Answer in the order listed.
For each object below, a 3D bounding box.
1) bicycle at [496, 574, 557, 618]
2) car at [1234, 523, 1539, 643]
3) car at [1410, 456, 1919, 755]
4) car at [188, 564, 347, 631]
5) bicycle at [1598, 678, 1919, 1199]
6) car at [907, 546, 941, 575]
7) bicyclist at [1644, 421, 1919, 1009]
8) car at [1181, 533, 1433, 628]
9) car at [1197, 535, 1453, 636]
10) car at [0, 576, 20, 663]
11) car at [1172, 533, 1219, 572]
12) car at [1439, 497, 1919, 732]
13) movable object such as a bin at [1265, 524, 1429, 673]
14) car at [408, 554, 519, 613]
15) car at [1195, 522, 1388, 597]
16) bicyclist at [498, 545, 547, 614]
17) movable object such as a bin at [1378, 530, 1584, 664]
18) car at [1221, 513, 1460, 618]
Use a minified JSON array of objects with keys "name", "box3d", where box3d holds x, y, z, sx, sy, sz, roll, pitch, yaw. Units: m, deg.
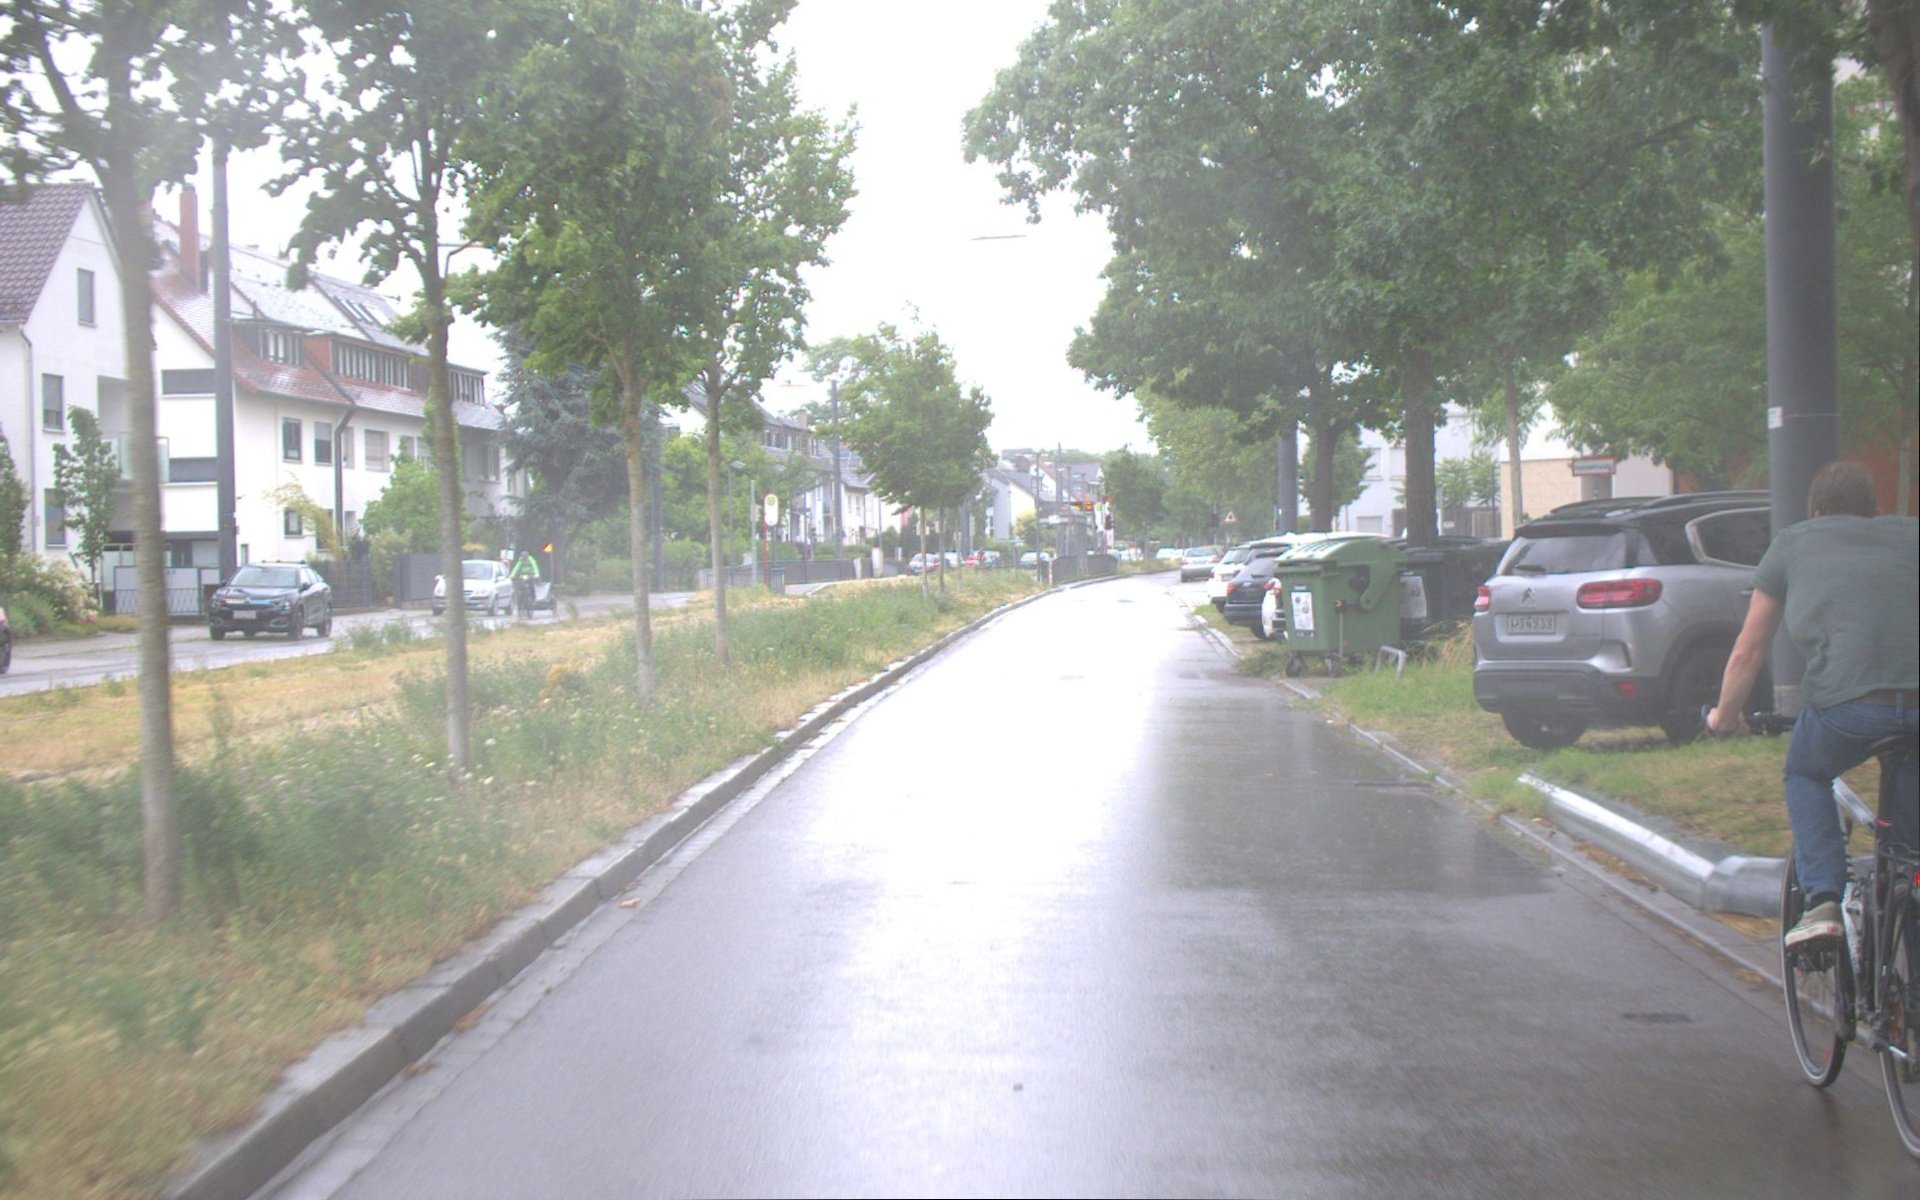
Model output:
[{"name":"bicycle","box3d":[-11.011,-0.111,87.413,1.018,1.024,3.197,-1,1,2]},{"name":"car","box3d":[5.860,-0.253,47.105,4.028,1.514,1.585,-2,1,-32]},{"name":"car","box3d":[5.367,-0.035,23.354,4.135,1.713,2.000,-5,2,-30]},{"name":"car","box3d":[-13.990,-0.078,69.707,1.897,1.240,4.687,1,1,5]},{"name":"bicycle","box3d":[2.332,0.812,8.968,0.809,1.093,2.517,-2,1,-1]},{"name":"car","box3d":[-2.180,-2.434,210.523,1.843,1.666,4.000,-1,1,2]},{"name":"bicyclist","box3d":[2.315,0.268,8.959,0.809,1.428,1.060,-2,1,0]},{"name":"car","box3d":[5.732,-0.336,56.655,4.028,1.438,1.585,-2,1,-34]},{"name":"car","box3d":[5.626,-0.237,52.753,4.030,1.438,1.585,-2,1,-42]},{"name":"car","box3d":[-14.843,0.294,49.004,1.674,1.240,3.855,1,1,3]},{"name":"car","box3d":[9.856,-1.988,144.141,1.833,1.581,4.000,-1,1,2]},{"name":"car","box3d":[5.839,0.074,27.086,3.874,1.561,1.732,-4,2,-34]},{"name":"movable object such as a bin","box3d":[4.152,-0.026,37.001,1.125,1.452,1.401,-7,3,-19]},{"name":"car","box3d":[-13.188,-0.460,91.642,1.897,1.464,4.687,1,1,5]},{"name":"car","box3d":[7.154,-0.883,74.103,4.028,1.508,1.585,-2,1,-34]},{"name":"bicyclist","box3d":[-11.031,-0.522,86.655,1.018,1.679,1.092,-1,1,2]},{"name":"movable object such as a bin","box3d":[5.630,-0.040,37.240,1.681,1.321,1.401,-4,2,-19]},{"name":"car","box3d":[6.612,-0.609,59.578,4.028,1.697,1.585,-2,1,-34]}]
